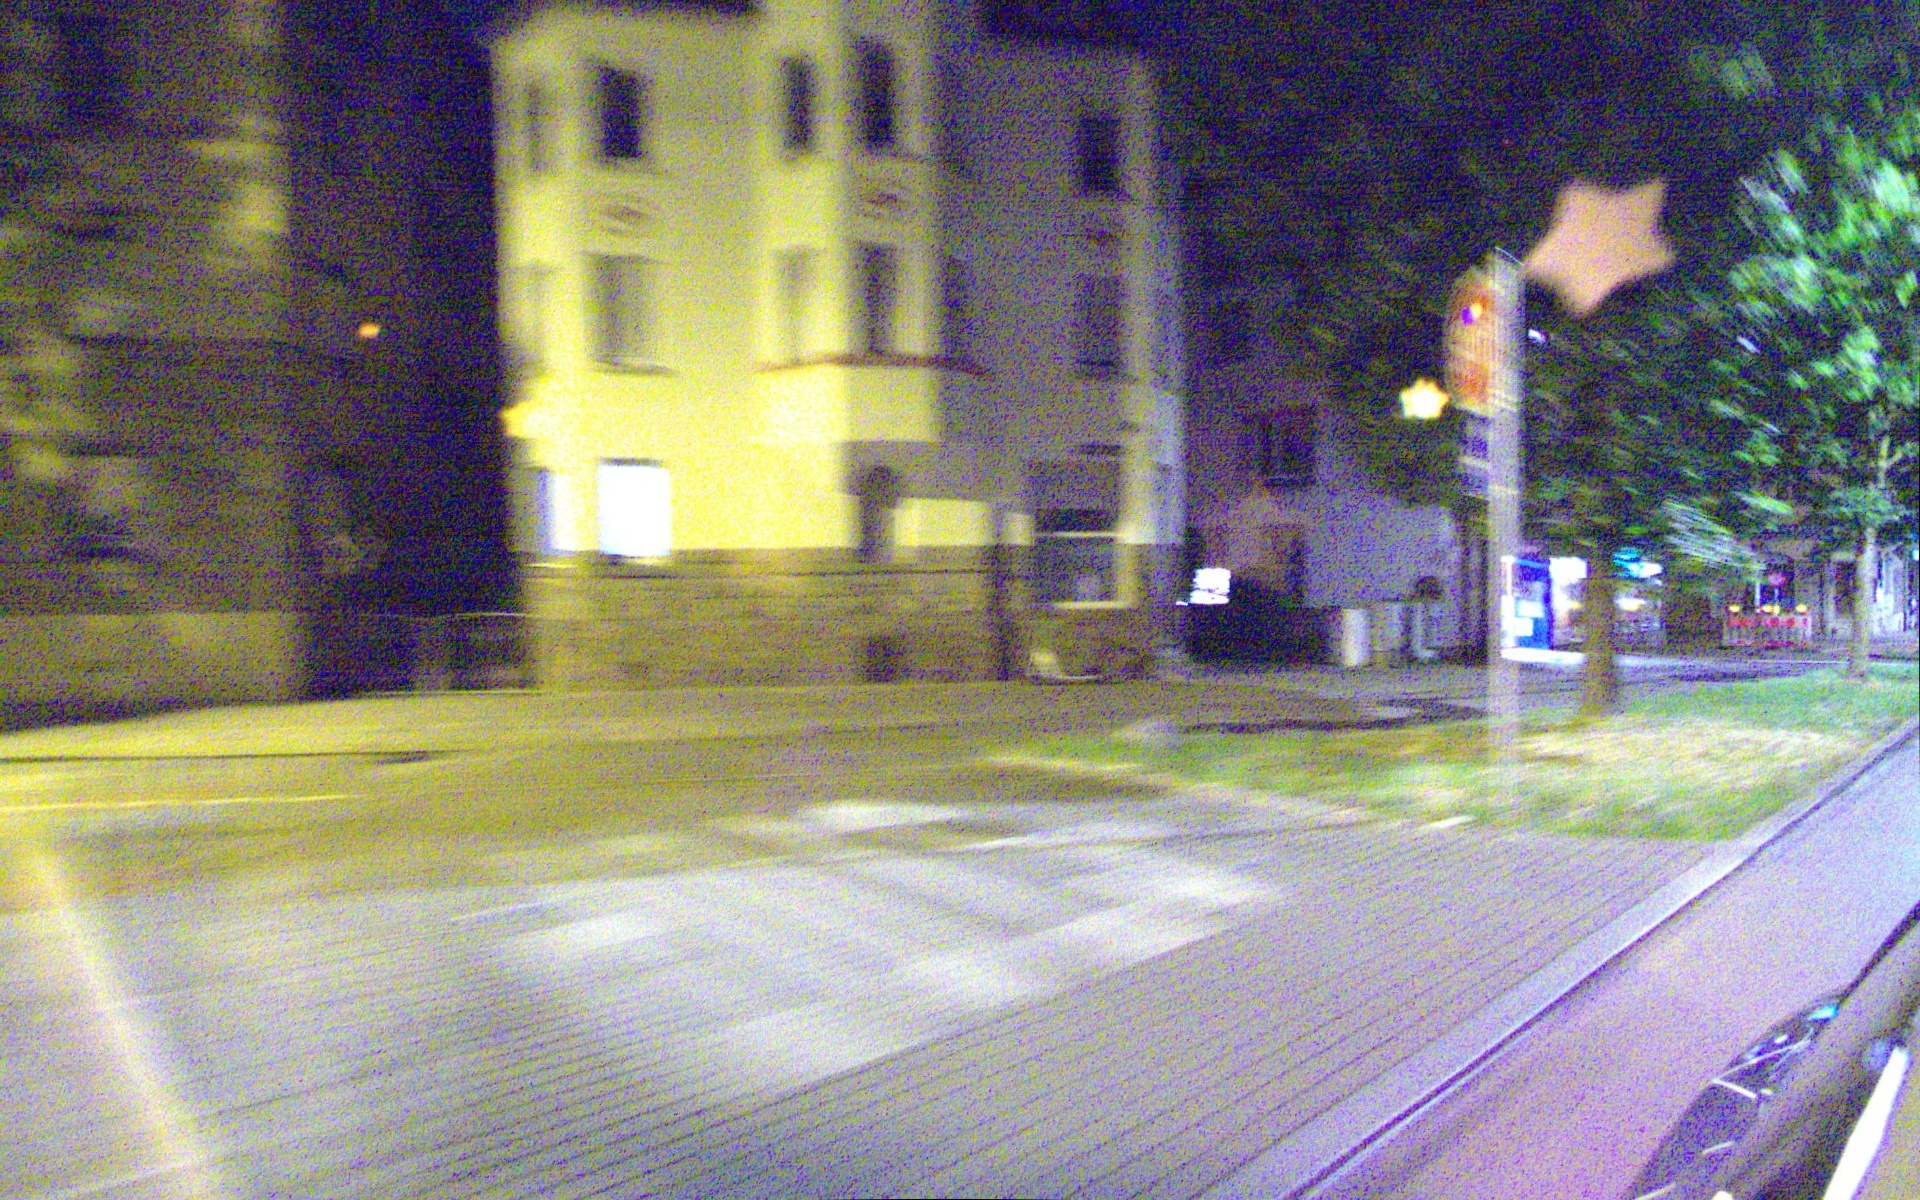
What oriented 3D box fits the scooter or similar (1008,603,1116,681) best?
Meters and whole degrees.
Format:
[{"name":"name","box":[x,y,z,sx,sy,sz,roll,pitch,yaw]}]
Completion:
[{"name":"scooter or similar","box":[1.625,0.655,16.174,1.631,1.159,0.501,-1,3,-16]}]
